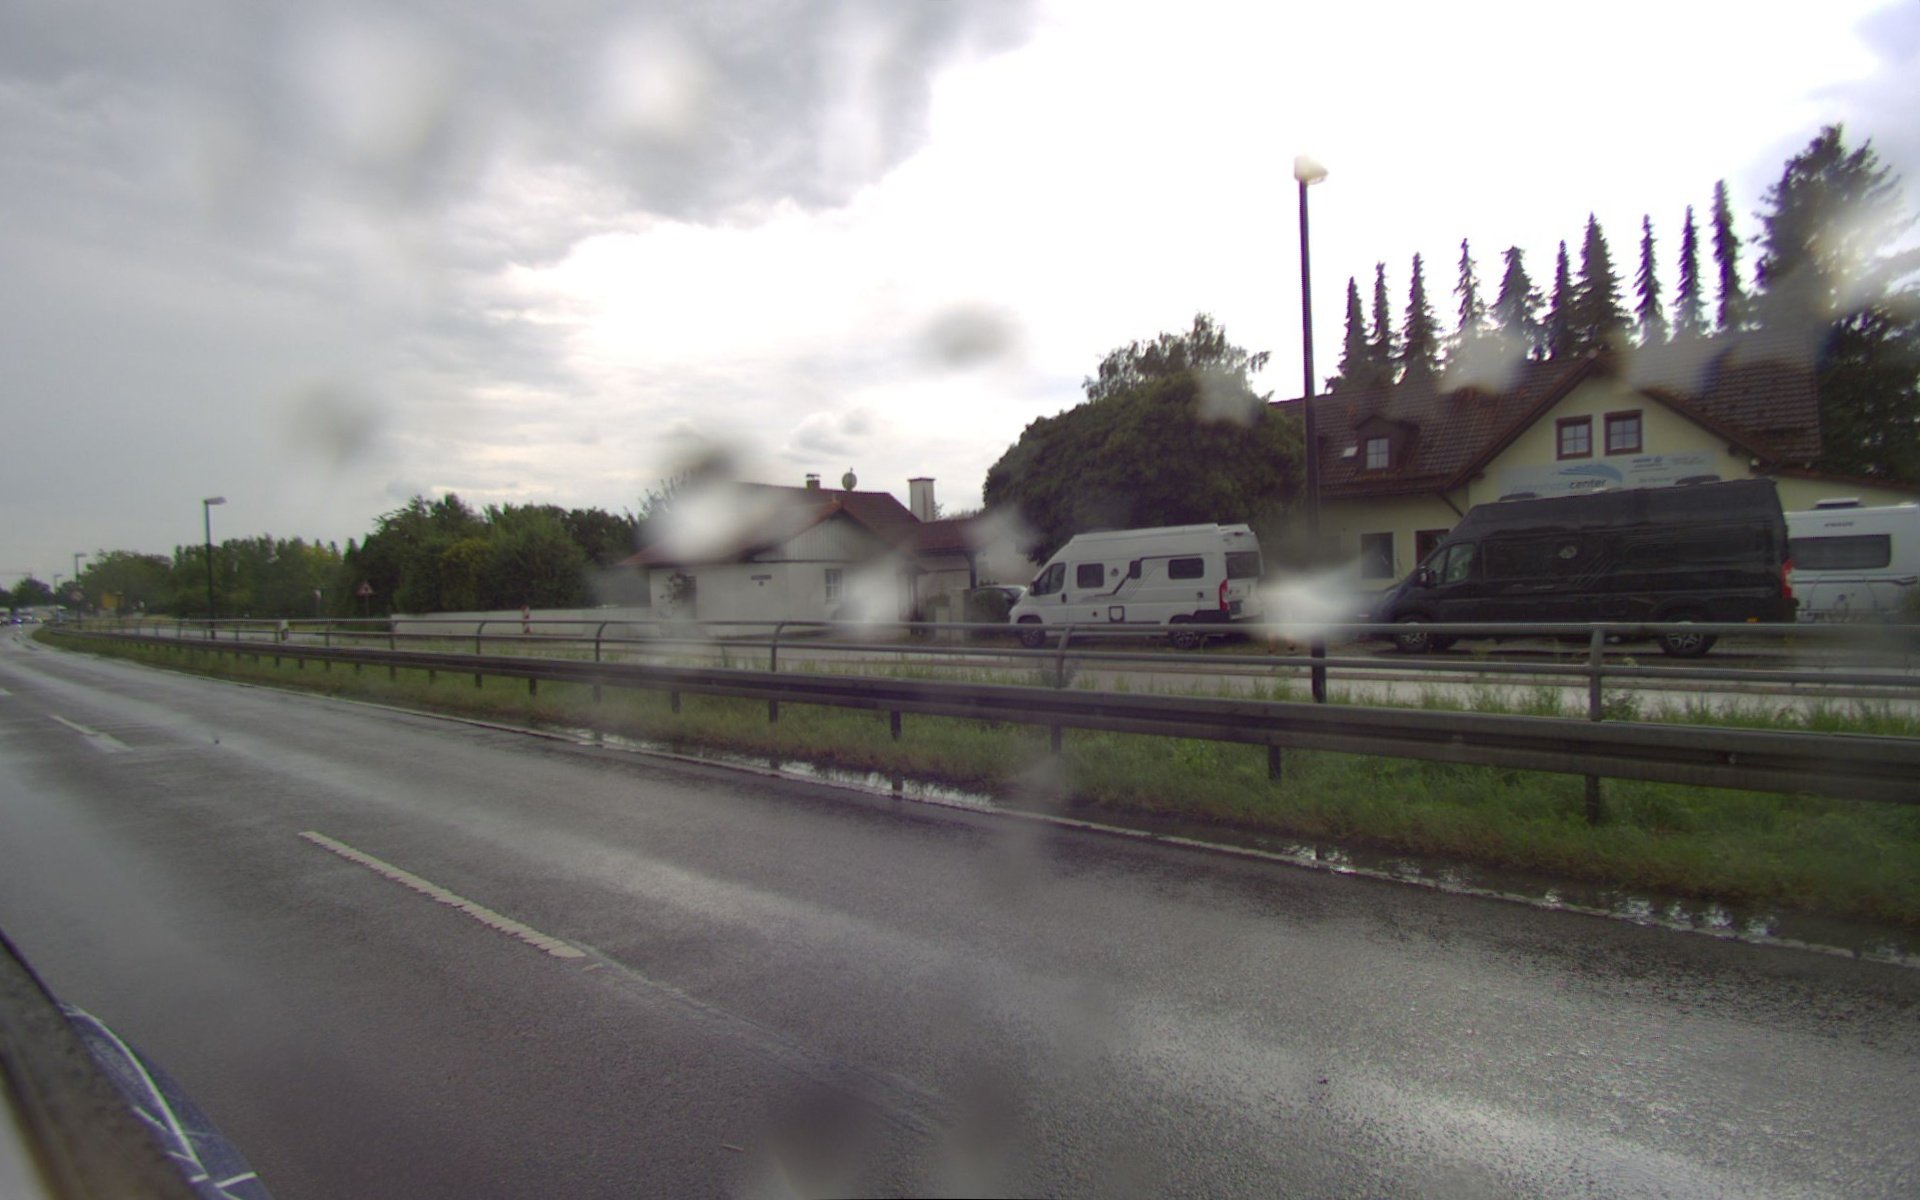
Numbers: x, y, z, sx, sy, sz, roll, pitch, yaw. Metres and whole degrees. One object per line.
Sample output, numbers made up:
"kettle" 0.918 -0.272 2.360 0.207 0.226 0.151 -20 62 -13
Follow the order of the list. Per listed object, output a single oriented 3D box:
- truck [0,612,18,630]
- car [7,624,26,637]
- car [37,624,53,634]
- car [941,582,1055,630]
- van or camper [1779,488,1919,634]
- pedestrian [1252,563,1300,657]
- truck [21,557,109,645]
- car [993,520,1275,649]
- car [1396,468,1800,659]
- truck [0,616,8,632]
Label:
"truck" -135.836 2.990 143.648 7.171 2.494 2.762 -1 1 45
"car" -162.262 5.261 173.964 4.098 2.029 1.973 -1 1 42
"car" -173.710 5.438 192.167 4.026 1.746 1.788 -1 1 42
"car" 1.111 0.188 30.419 3.270 1.366 1.433 -1 1 43
"van or camper" 18.585 -0.783 20.856 2.560 2.611 6.161 -2 1 40
"pedestrian" 5.907 0.178 18.921 0.509 1.723 0.651 -2 1 -40
"truck" -54.971 0.086 62.088 7.783 5.071 3.213 -1 1 43
"car" 3.815 -0.294 23.109 6.015 2.600 2.215 -1 1 40
"car" 10.817 -0.520 17.464 5.567 2.783 2.360 -1 1 39
"truck" -147.568 3.704 154.541 7.171 2.494 2.762 -1 1 45
